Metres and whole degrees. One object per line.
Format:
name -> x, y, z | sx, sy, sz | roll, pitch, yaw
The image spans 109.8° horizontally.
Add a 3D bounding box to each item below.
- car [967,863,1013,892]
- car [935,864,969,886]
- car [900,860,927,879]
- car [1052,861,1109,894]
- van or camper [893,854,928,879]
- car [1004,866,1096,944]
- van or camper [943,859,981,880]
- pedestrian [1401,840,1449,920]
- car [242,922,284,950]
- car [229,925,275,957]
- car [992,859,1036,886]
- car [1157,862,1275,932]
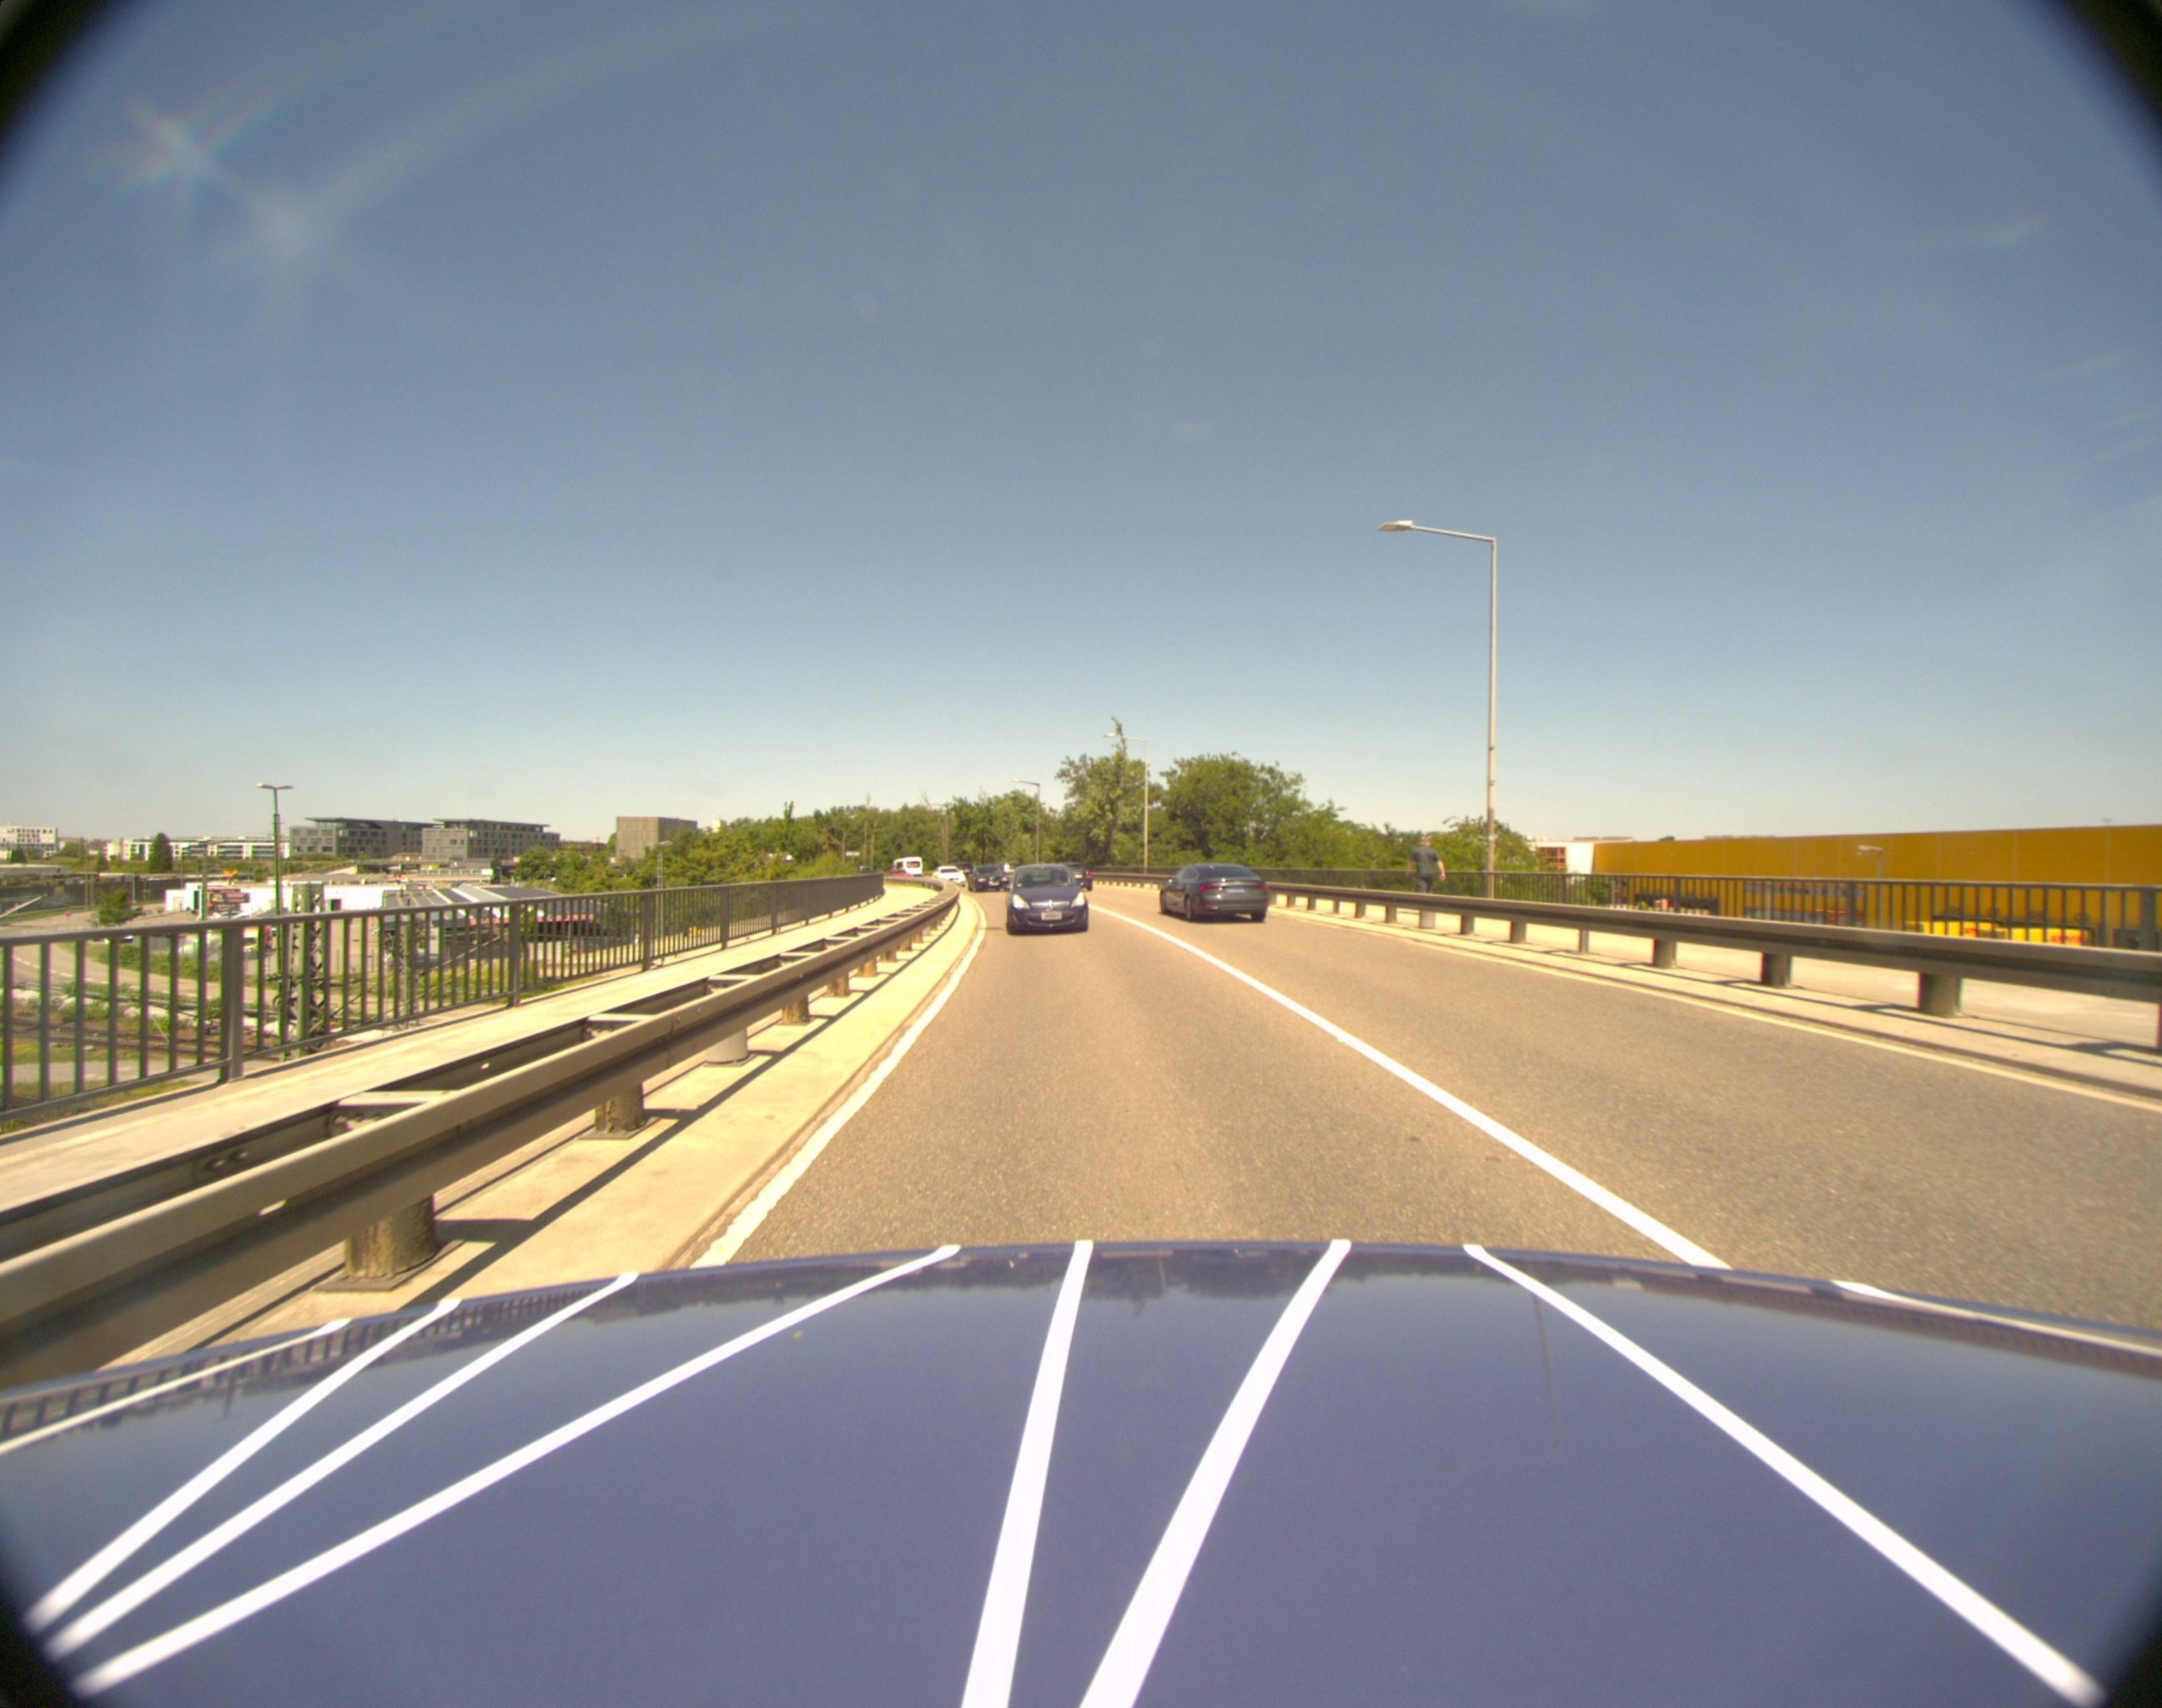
car -> -4.907, 1.237, 40.474 | 1.571, 1.408, 4.116 | -2, 0, -18
car -> -9.006, 1.427, 52.919 | 1.819, 1.419, 3.710 | -2, 0, -17
car -> -15.968, 1.468, 72.198 | 1.904, 1.645, 4.250 | -1, 1, -21
car -> -0.092, 1.042, 35.871 | 1.796, 1.411, 3.768 | 0, 0, -14
van or camper -> -18.713, 1.397, 83.198 | 2.057, 2.523, 5.871 | -3, 0, -28
car -> -0.828, 1.044, 17.295 | 1.699, 1.459, 4.381 | -2, 0, -7
van or camper -> -10.483, 1.331, 66.641 | 2.003, 1.750, 4.688 | -1, 0, -26
pedestrian -> 7.906, 0.588, 17.494 | 0.640, 1.772, 0.811 | -2, 1, -8
car -> -80.807, 8.064, 75.127 | 2.156, 2.339, 4.916 | -7, 3, -42
car -> -76.223, 7.957, 69.909 | 2.156, 2.339, 4.916 | -7, 3, -42
car -> -4.654, 1.224, 52.423 | 1.904, 1.645, 4.250 | -1, 1, -20
car -> 3.164, 0.961, 18.748 | 1.794, 1.407, 4.572 | -1, 1, -4
